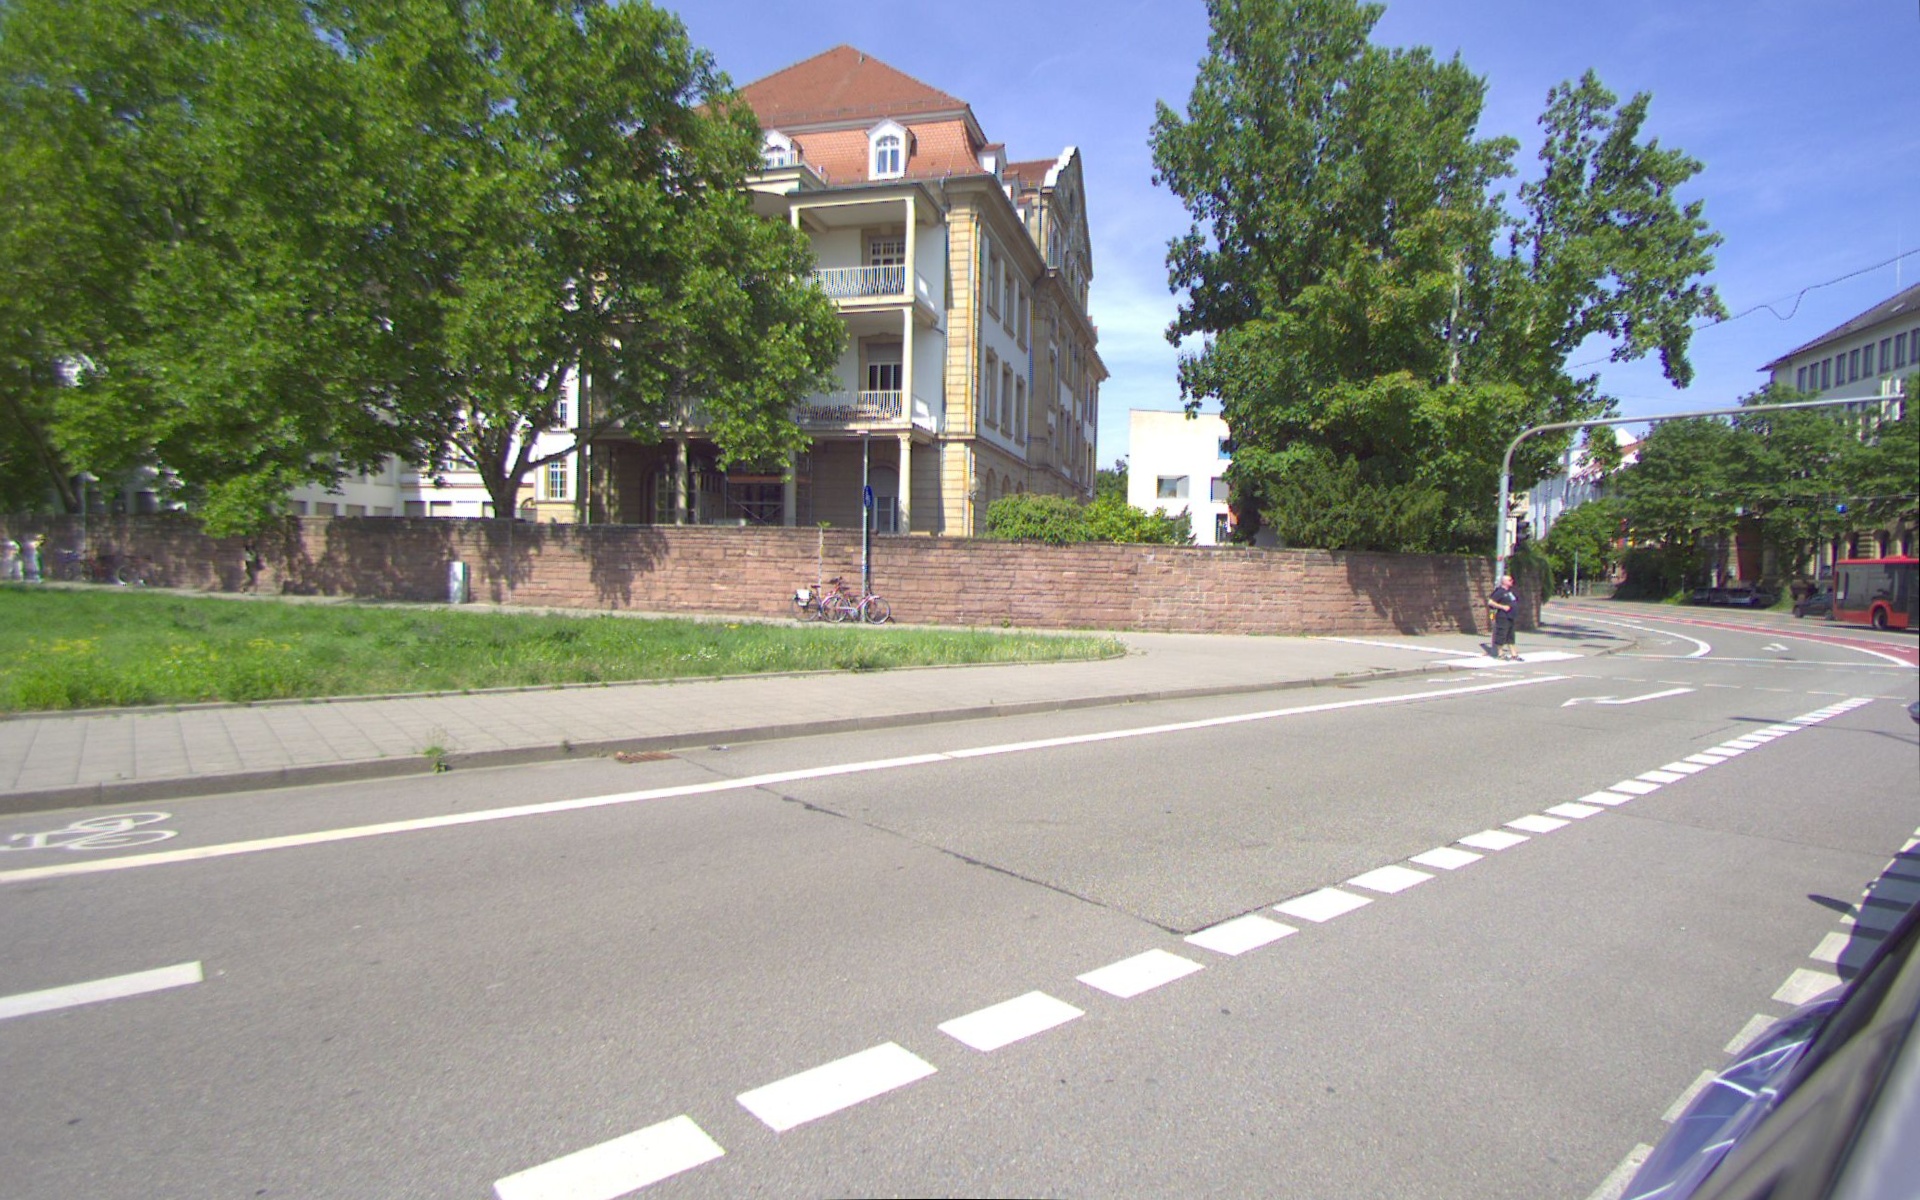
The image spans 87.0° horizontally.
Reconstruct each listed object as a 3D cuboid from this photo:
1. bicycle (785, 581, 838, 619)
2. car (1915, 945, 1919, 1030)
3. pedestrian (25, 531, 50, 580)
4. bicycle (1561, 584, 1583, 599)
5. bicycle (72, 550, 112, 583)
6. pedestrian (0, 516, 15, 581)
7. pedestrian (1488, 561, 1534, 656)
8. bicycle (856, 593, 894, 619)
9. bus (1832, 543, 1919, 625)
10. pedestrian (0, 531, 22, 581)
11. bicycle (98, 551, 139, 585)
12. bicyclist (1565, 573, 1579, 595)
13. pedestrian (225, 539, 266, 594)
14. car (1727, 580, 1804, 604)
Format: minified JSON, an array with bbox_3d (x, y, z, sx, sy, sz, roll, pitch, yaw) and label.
[{"bbox_3d":[-3.621,0.005,24.715,1.202,0.894,0.395,1,2,-21],"label":"bicycle"},{"bbox_3d":[5.323,0.672,3.975,4.077,1.605,1.688,0,3,-39],"label":"car"},{"bbox_3d":[-30.439,-1.472,33.388,0.700,1.597,0.516,3,3,41],"label":"pedestrian"},{"bbox_3d":[56.708,-0.780,93.778,0.819,1.420,3.452,0,0,16],"label":"bicycle"},{"bbox_3d":[-28.914,-1.120,33.699,1.432,1.046,0.444,3,2,24],"label":"bicycle"},{"bbox_3d":[-30.376,-1.637,31.958,0.586,2.038,0.522,1,2,9],"label":"pedestrian"},{"bbox_3d":[12.169,0.172,22.346,0.790,2.038,0.608,2,1,35],"label":"pedestrian"},{"bbox_3d":[-2.096,0.142,25.024,0.929,0.609,0.275,2,2,-2],"label":"bicycle"},{"bbox_3d":[38.179,-0.621,37.739,3.086,3.133,12.365,0,1,13],"label":"bus"},{"bbox_3d":[-30.880,-1.443,32.864,0.700,1.597,0.516,3,3,41],"label":"pedestrian"},{"bbox_3d":[-27.516,-1.057,33.075,1.432,1.046,0.444,3,2,24],"label":"bicycle"},{"bbox_3d":[56.738,-1.504,93.846,0.847,2.039,1.230,0,0,16],"label":"bicyclist"},{"bbox_3d":[-20.818,-0.991,29.482,0.900,1.567,0.501,2,2,13],"label":"pedestrian"},{"bbox_3d":[59.416,-0.584,74.707,3.941,1.682,1.993,0,3,14],"label":"car"}]
